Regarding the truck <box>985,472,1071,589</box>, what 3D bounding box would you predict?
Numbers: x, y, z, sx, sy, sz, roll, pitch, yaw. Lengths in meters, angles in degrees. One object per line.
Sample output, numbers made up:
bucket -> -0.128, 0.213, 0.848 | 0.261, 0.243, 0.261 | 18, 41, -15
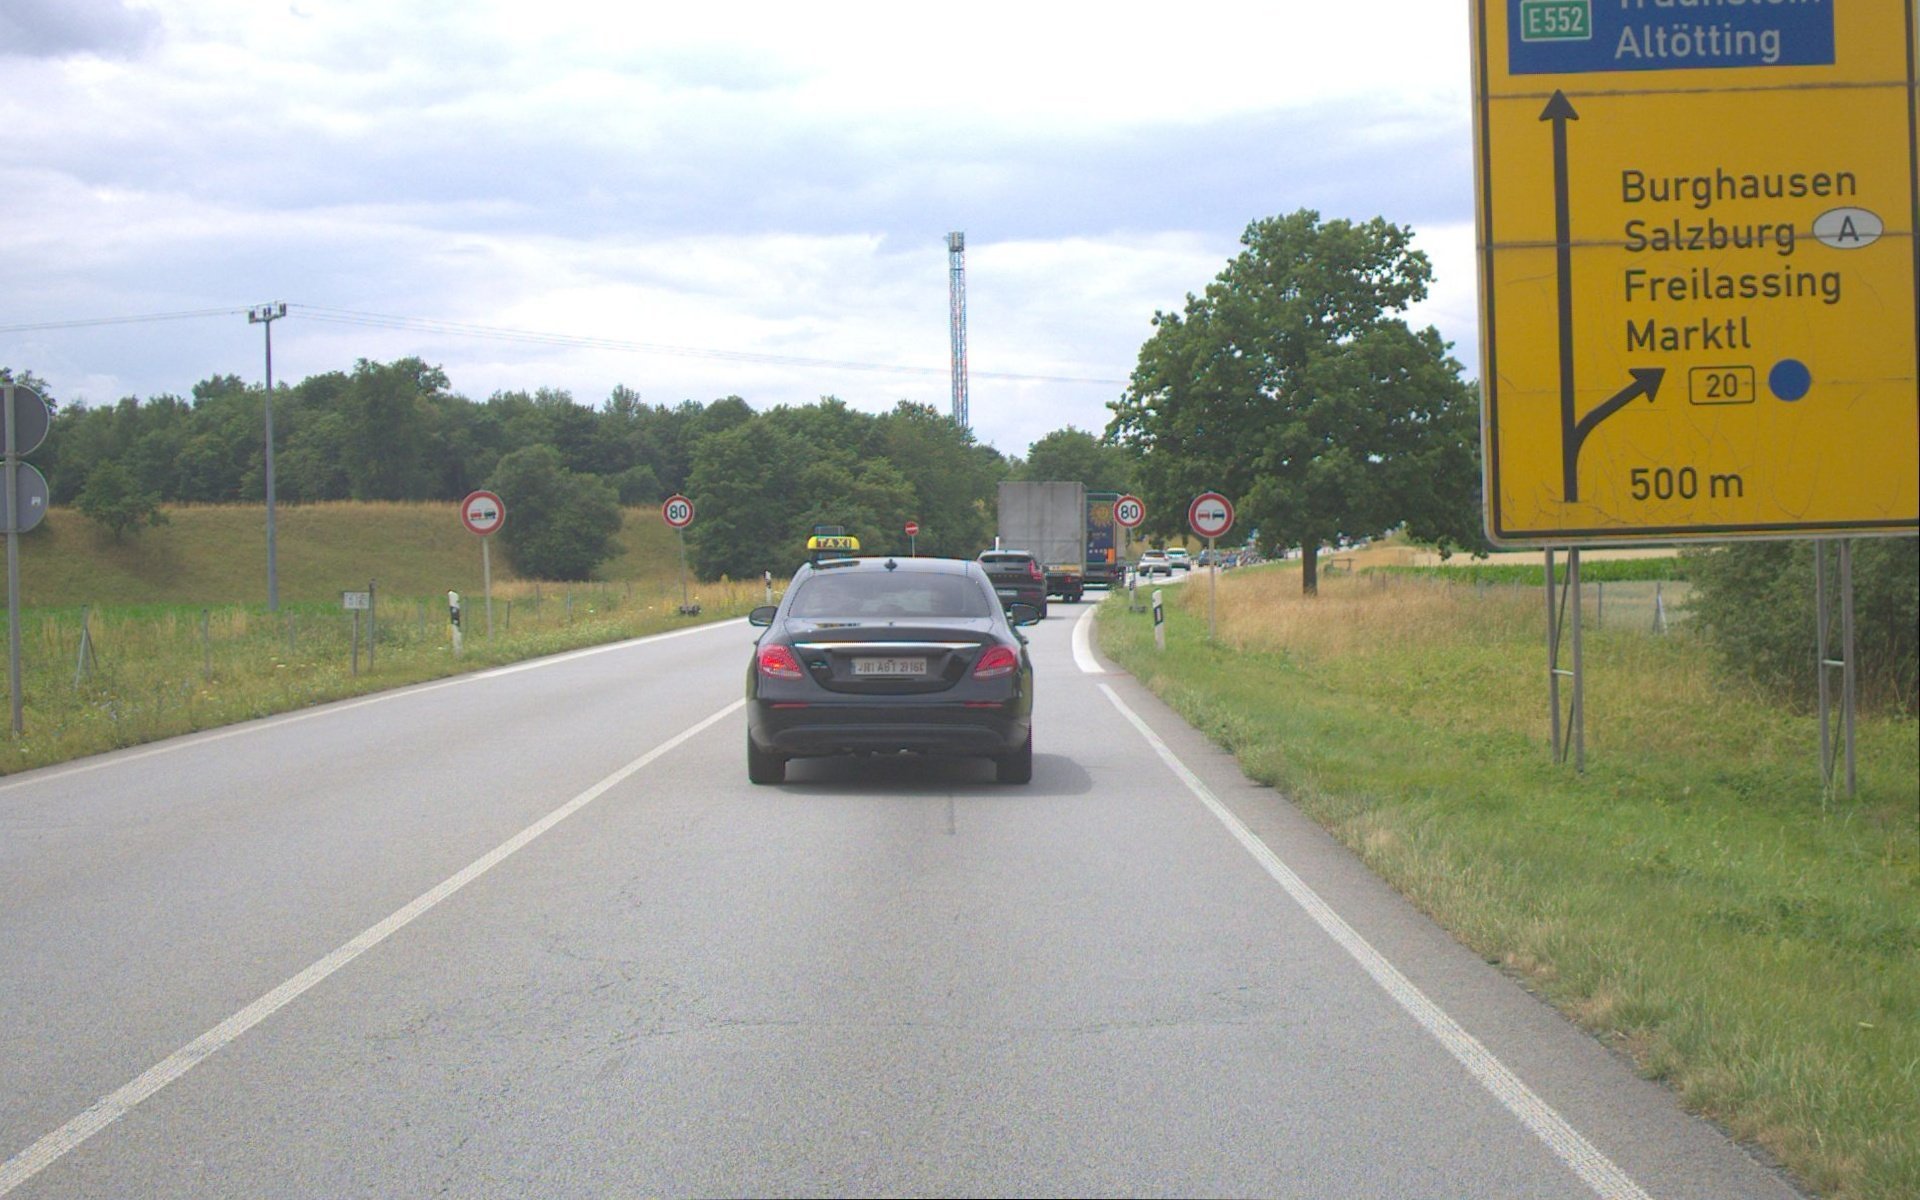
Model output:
truck -> 2.148, -2.144, 106.992 | 2.587, 3.512, 4.812 | 1, 0, 2

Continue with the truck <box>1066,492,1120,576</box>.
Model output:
truck -> 5.649, -2.785, 146.671 | 1.993, 3.513, 4.592 | 1, 0, -1

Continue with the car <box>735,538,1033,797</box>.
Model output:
car -> -0.490, 0.395, 22.965 | 1.795, 1.554, 4.000 | 1, 0, -1

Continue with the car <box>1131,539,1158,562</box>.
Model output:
car -> 11.560, -3.088, 215.019 | 1.649, 1.391, 3.705 | 1, 0, 4

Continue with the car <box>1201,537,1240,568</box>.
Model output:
car -> 14.686, -2.677, 194.127 | 1.795, 1.657, 4.000 | 1, 0, -1

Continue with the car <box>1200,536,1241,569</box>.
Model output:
car -> 13.660, -2.489, 180.402 | 1.795, 1.657, 4.000 | 1, 0, -1

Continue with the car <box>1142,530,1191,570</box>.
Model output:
car -> 8.747, -2.114, 145.897 | 1.795, 1.657, 4.000 | 1, 0, -1

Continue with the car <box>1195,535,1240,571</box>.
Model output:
car -> 12.364, -2.243, 165.307 | 1.795, 1.657, 4.000 | 1, 0, -1

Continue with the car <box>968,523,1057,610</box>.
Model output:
car -> 1.228, -0.802, 82.422 | 1.993, 2.007, 4.000 | 1, 0, -1
